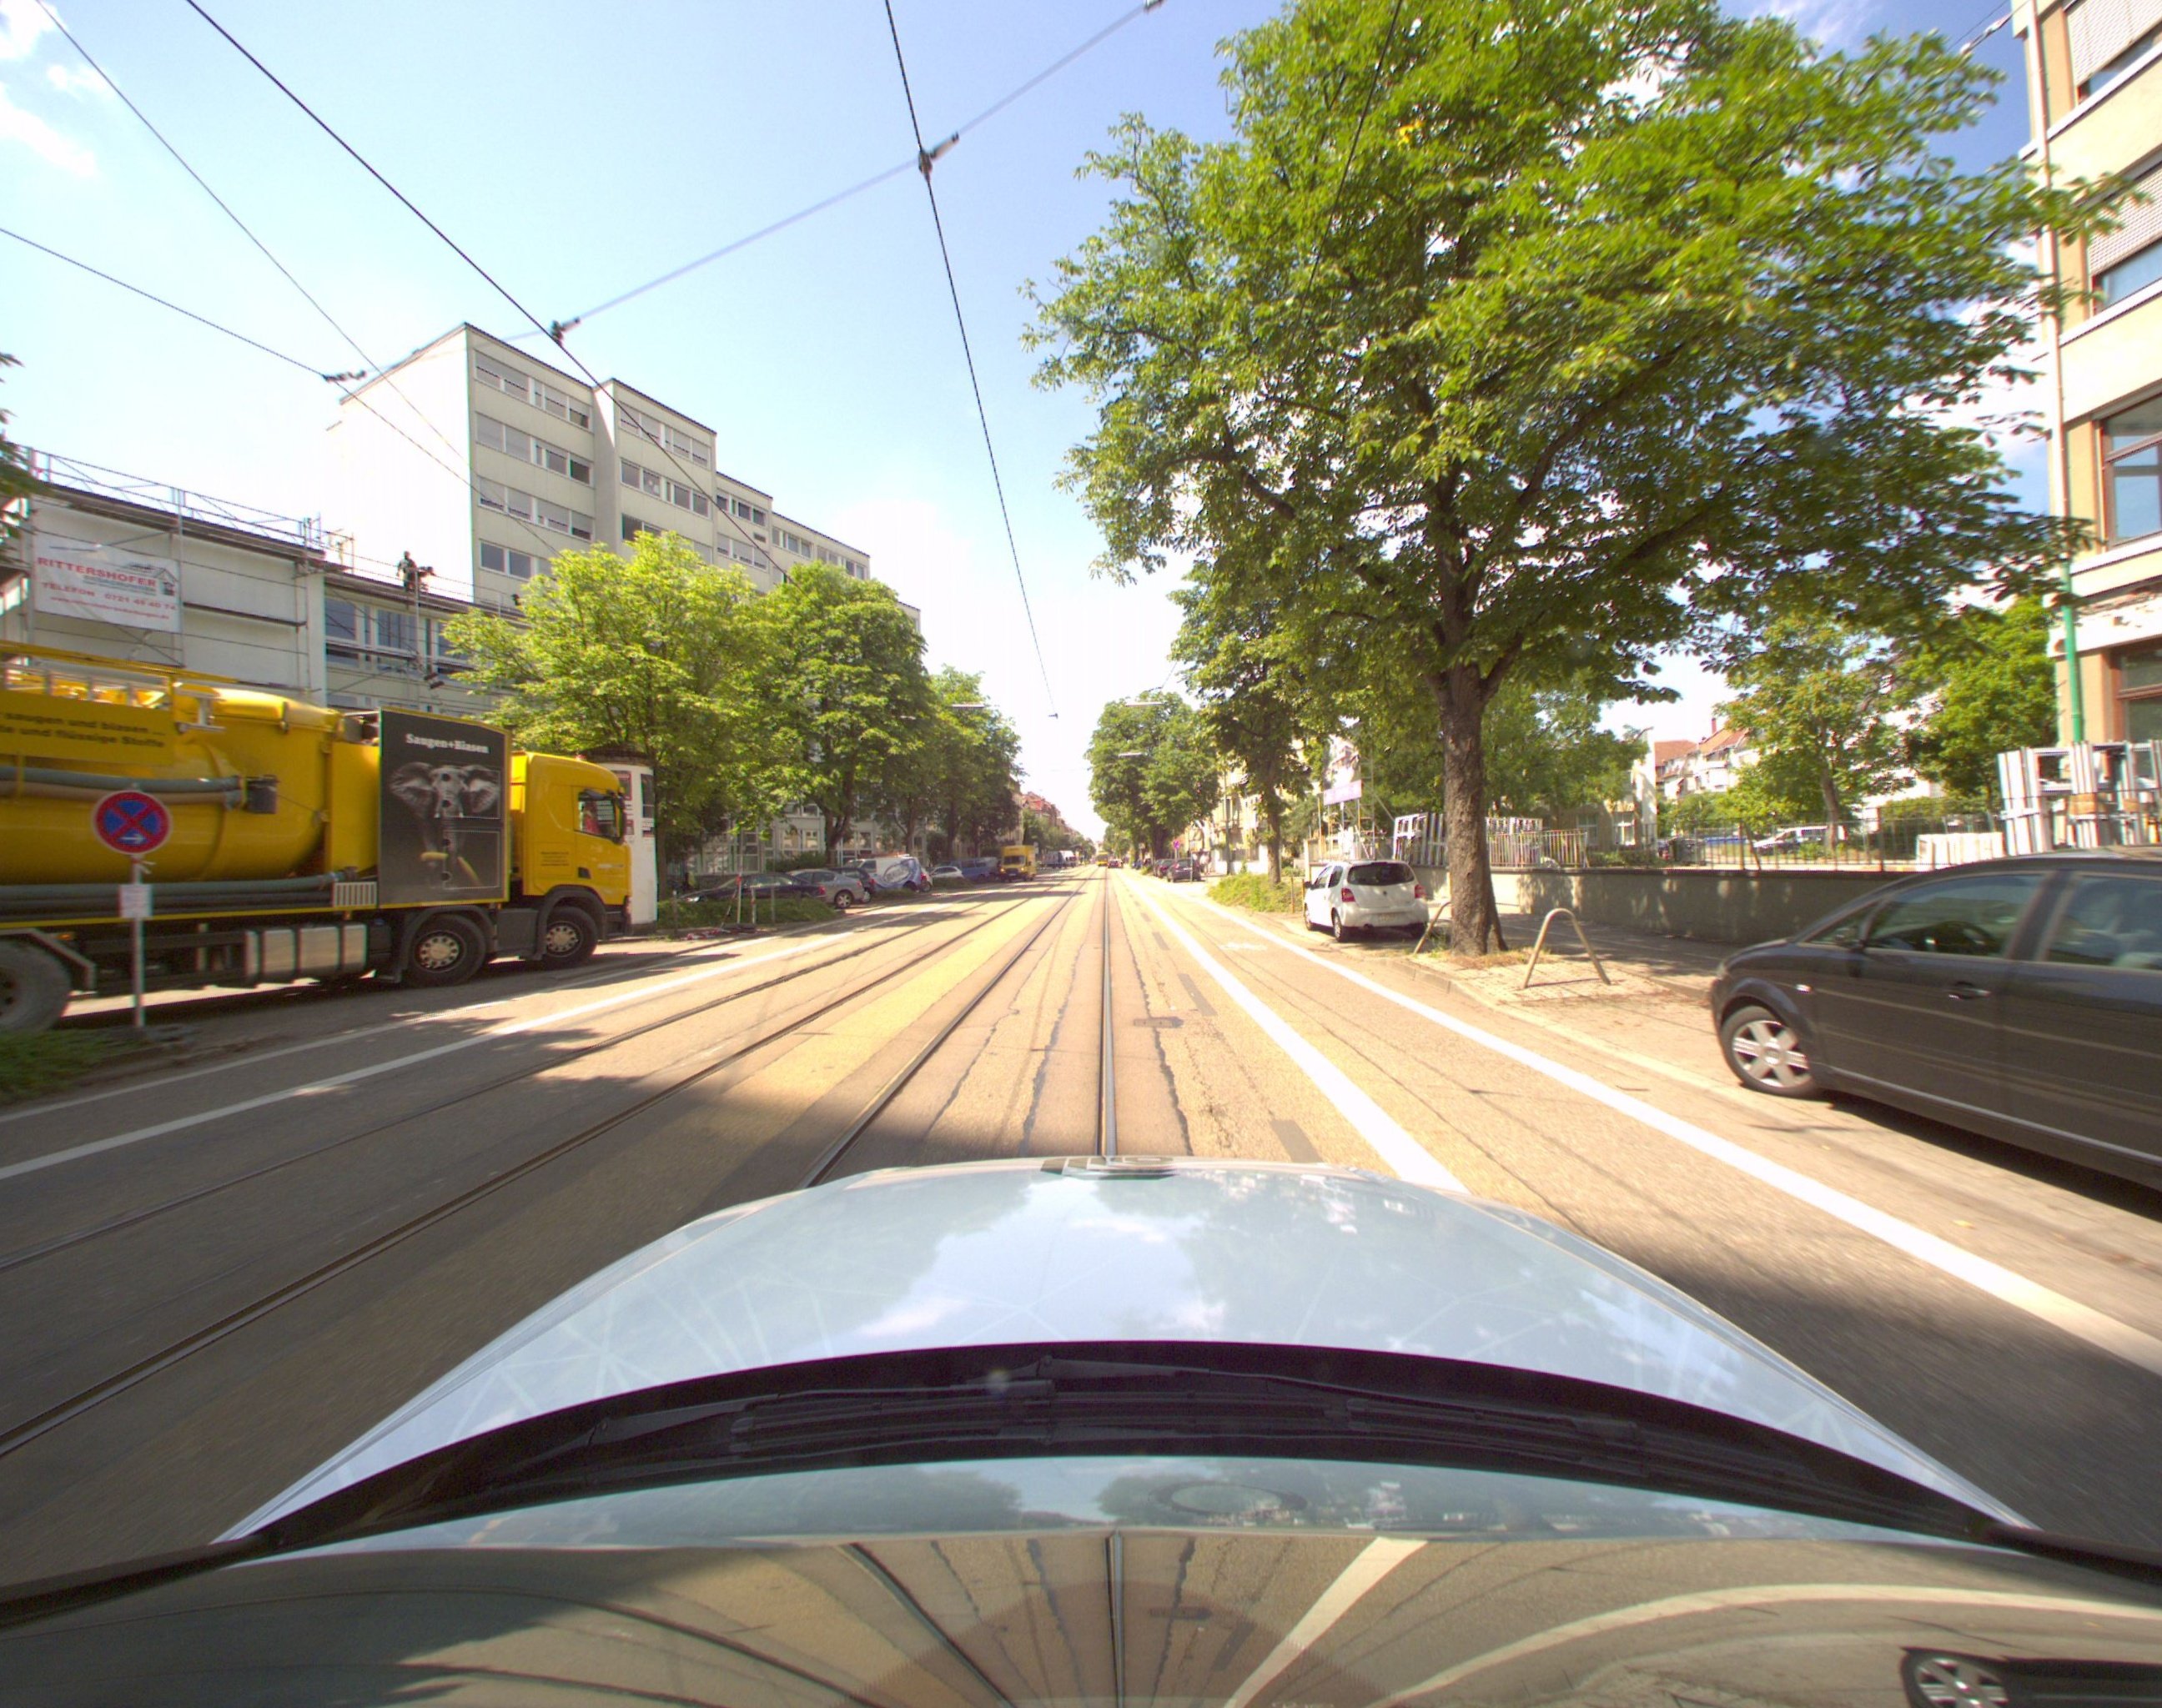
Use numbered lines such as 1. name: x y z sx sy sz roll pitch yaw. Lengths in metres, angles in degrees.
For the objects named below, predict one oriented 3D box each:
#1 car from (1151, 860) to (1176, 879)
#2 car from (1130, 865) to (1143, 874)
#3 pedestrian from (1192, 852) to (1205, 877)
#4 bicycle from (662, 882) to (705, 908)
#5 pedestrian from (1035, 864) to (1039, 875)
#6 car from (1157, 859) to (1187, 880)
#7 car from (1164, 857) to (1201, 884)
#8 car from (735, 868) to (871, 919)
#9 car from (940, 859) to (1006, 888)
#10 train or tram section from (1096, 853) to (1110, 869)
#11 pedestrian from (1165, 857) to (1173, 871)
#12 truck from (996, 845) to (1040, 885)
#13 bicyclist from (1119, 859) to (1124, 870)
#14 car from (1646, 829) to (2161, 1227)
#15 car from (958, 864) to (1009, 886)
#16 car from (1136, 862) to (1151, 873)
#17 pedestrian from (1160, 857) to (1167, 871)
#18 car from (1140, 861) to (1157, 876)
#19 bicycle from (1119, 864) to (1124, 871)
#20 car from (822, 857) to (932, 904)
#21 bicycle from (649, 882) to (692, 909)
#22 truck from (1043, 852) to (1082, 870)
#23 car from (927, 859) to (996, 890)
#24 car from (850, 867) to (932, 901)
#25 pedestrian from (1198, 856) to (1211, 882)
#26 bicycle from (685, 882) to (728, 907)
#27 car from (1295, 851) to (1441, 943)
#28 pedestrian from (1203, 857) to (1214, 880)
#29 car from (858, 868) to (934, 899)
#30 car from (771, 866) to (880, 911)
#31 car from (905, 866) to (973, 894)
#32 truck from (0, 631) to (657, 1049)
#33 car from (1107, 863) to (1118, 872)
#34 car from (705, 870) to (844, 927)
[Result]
1. car: 6.951 1.316 68.866 1.704 1.423 4.244 -3 -1 1
2. car: 8.714 2.430 128.345 1.704 1.423 4.310 -3 -1 1
3. pedestrian: 8.988 0.828 62.273 0.801 1.860 0.580 -3 -1 29
4. bicycle: -17.375 1.782 35.583 1.992 1.075 0.561 -1 -1 27
5. pedestrian: -6.424 2.243 119.037 0.570 1.616 0.817 -2 -1 2
6. car: 6.919 1.159 62.208 1.869 1.455 4.529 -3 -1 2
7. car: 6.187 1.019 49.854 1.634 1.485 3.870 -2 -1 -2
8. car: -9.972 1.385 29.367 4.225 1.507 1.852 -2 -1 -40
9. car: -8.648 1.551 65.496 4.785 2.062 2.003 -3 -1 -38
10. train or tram section: 5.067 1.641 184.857 3.023 3.438 11.976 -2 -1 2
11. pedestrian: 11.596 1.314 107.267 0.806 1.860 0.623 -2 -3 -1
12. truck: -4.892 0.833 64.347 2.350 2.852 7.384 -3 0 3
13. bicyclist: 5.978 1.496 120.533 0.620 1.616 0.864 0 -3 0
14. car: 5.007 0.657 4.081 1.638 1.534 3.948 -2 0 1
15. car: -8.245 1.802 69.003 3.942 1.600 1.726 -3 -1 -44
16. car: 8.402 1.816 110.095 1.704 1.423 4.310 -3 -1 1
17. pedestrian: 10.755 1.319 106.288 0.806 1.860 0.623 -2 -3 -1
18. car: 7.543 1.614 90.741 1.586 1.617 3.908 -3 -1 1
19. bicycle: 5.983 2.005 120.373 0.636 0.969 1.780 0 -2 1
20. car: -9.784 1.260 39.372 1.897 1.935 4.785 -5 -1 44
21. bicycle: -17.650 1.777 35.021 1.992 1.075 0.561 -1 -1 27
22. truck: -4.026 1.506 172.153 8.343 3.550 2.967 -3 -1 41
23. car: -8.639 1.467 59.240 4.759 1.955 1.824 -3 -1 -44
24. car: -9.866 1.562 42.474 3.731 1.507 1.795 -3 -1 -44
25. pedestrian: 9.358 1.132 61.507 0.717 1.860 0.580 -3 -1 30
26. bicycle: -16.735 1.795 36.393 2.110 1.075 0.561 -1 -1 27
27. car: 5.420 0.752 15.871 1.637 1.534 3.788 -2 0 3
28. pedestrian: 9.855 1.107 62.846 0.612 1.737 0.481 -4 -2 32
29. car: -10.213 1.620 45.088 3.731 1.467 1.741 -3 -1 -44
30. car: -10.129 1.361 32.387 3.731 1.544 1.671 -2 -1 -44
31. car: -9.162 1.667 52.747 1.740 1.433 4.025 -6 -2 43
32. truck: -10.611 -0.088 10.027 2.695 3.842 11.009 -1 -1 16
33. car: 5.221 2.226 136.169 1.774 1.346 3.417 -2 -1 2
34. car: -9.763 1.391 26.114 1.740 1.507 3.732 -4 -1 44
